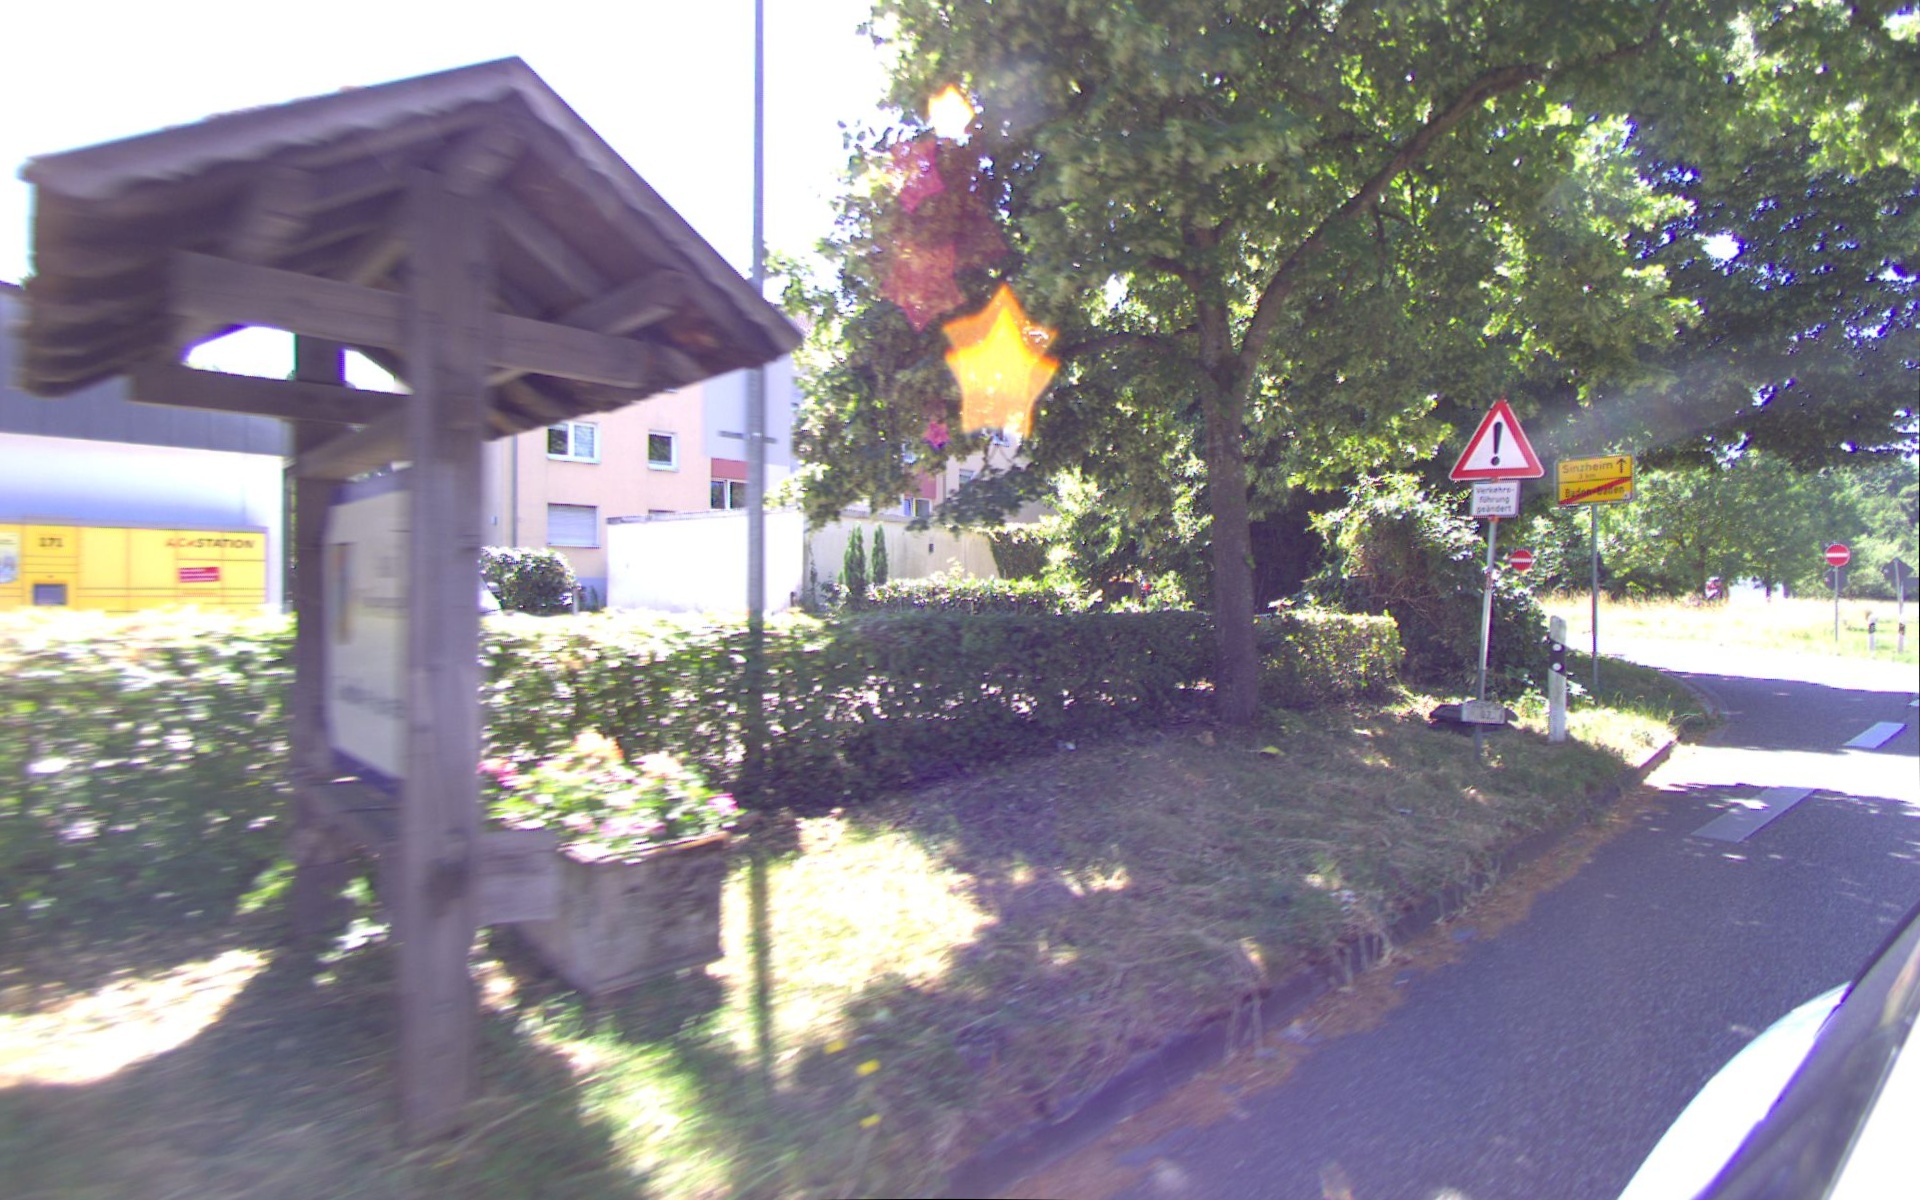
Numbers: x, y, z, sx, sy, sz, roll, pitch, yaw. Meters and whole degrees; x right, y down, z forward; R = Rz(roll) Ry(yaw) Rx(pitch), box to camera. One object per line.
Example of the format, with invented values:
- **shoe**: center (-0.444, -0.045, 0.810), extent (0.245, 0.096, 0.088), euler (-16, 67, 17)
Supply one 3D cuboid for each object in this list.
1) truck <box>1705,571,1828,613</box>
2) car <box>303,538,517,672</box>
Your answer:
- **truck**: center (59.207, -0.593, 74.384), extent (6.846, 2.980, 2.458), euler (1, 1, 3)
- **car**: center (-9.231, -0.043, 16.721), extent (1.889, 1.788, 5.249), euler (0, 3, -42)
